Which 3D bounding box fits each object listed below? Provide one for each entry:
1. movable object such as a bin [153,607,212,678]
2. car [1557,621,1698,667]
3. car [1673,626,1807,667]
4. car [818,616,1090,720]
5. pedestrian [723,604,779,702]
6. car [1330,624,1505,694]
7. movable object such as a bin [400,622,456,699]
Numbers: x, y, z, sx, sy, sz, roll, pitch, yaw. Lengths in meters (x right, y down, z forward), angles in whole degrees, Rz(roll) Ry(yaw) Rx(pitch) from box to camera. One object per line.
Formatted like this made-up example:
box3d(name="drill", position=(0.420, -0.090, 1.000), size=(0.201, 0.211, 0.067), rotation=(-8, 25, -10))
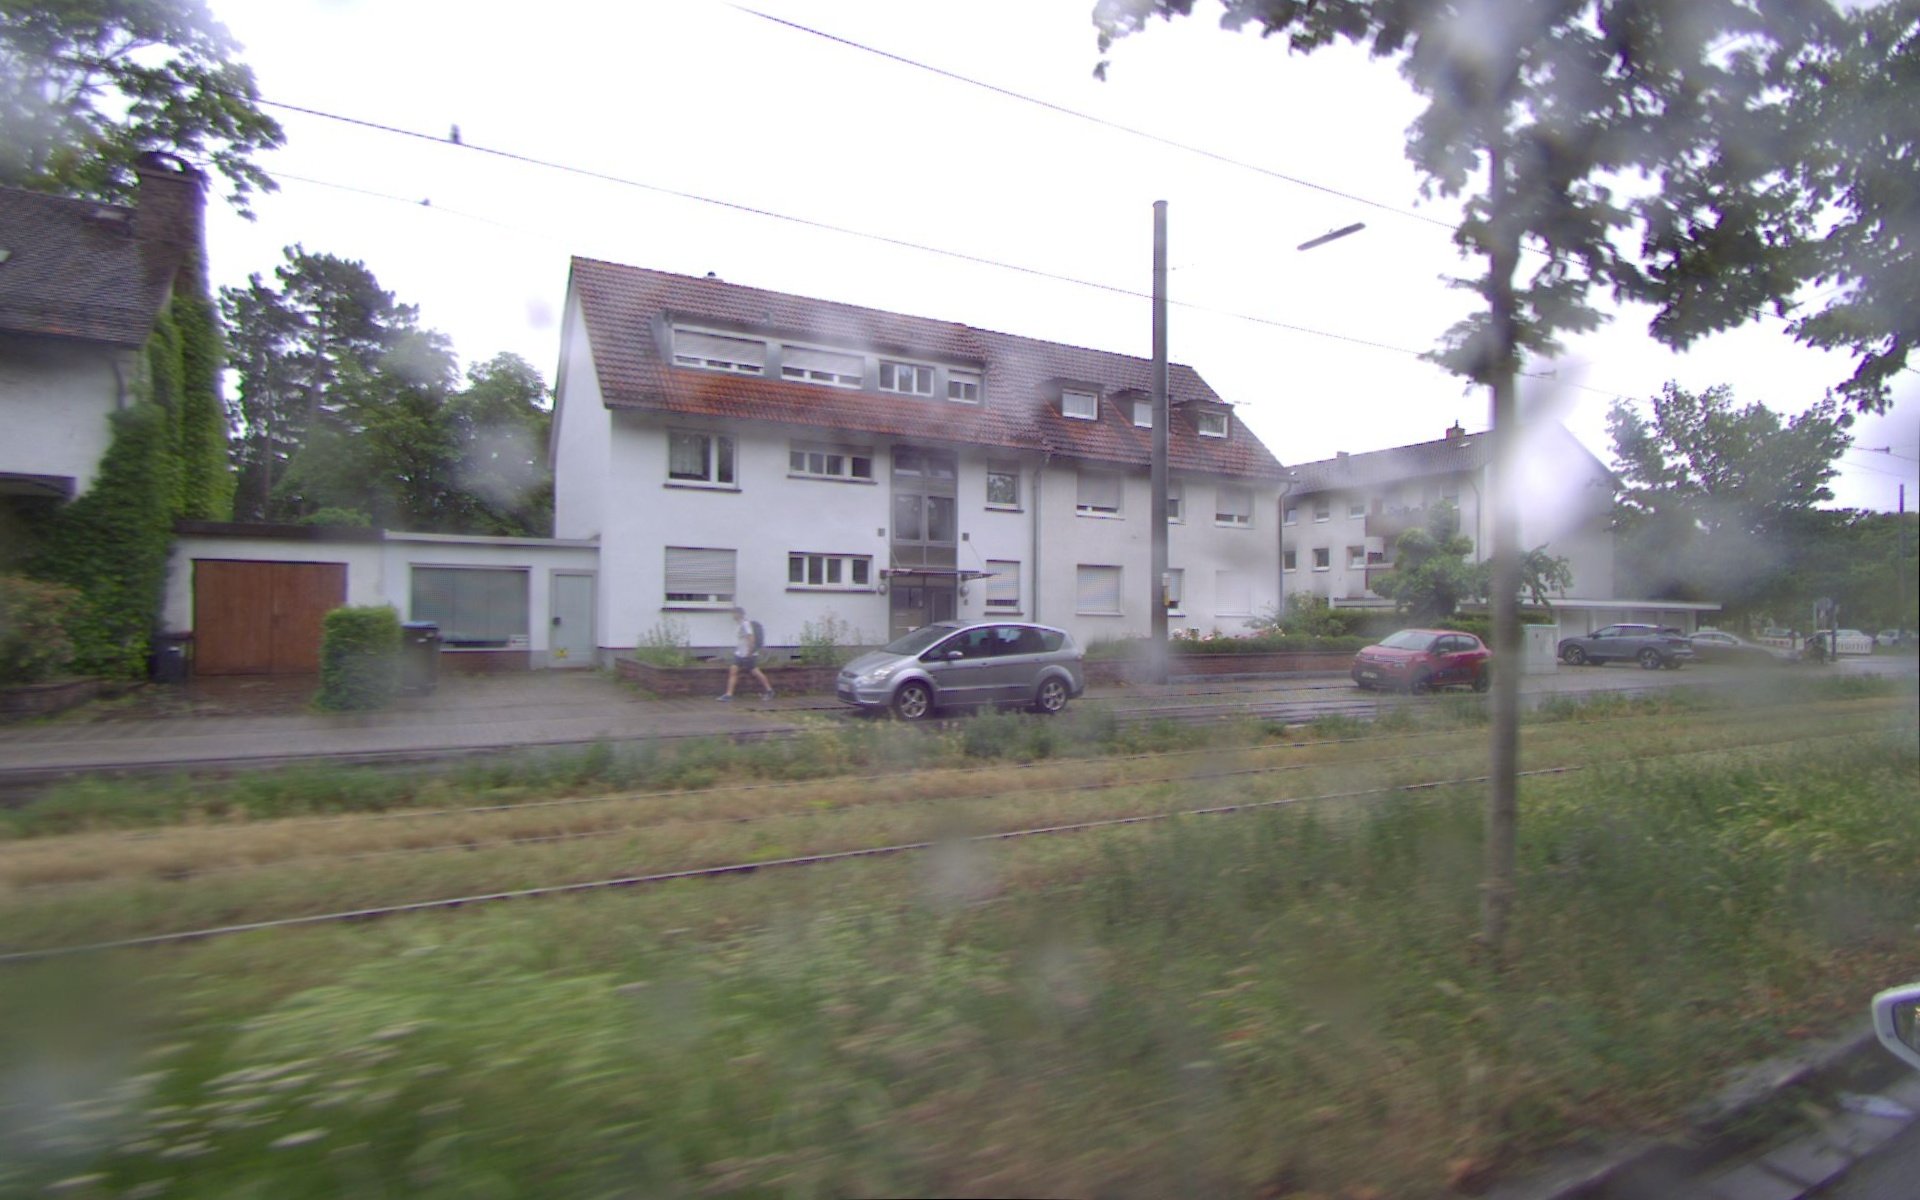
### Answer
box3d(name="movable object such as a bin", position=(-14.864, 0.804, 19.228), size=(0.762, 1.312, 0.806), rotation=(2, 1, -30))
box3d(name="car", position=(25.148, 1.645, 37.960), size=(1.978, 1.638, 3.965), rotation=(1, -2, -32))
box3d(name="car", position=(32.286, 1.889, 41.689), size=(1.978, 1.638, 3.965), rotation=(1, -2, -32))
box3d(name="car", position=(-0.078, 1.164, 18.025), size=(4.461, 1.602, 1.985), rotation=(2, 0, -28))
box3d(name="pedestrian", position=(-3.895, 0.979, 18.691), size=(0.844, 1.778, 0.698), rotation=(1, -2, -30))
box3d(name="car", position=(11.436, 1.412, 25.080), size=(4.157, 1.508, 1.983), rotation=(1, 1, -31))
box3d(name="movable object such as a bin", position=(-9.599, 1.080, 18.123), size=(0.842, 1.312, 0.837), rotation=(2, 1, -30))
